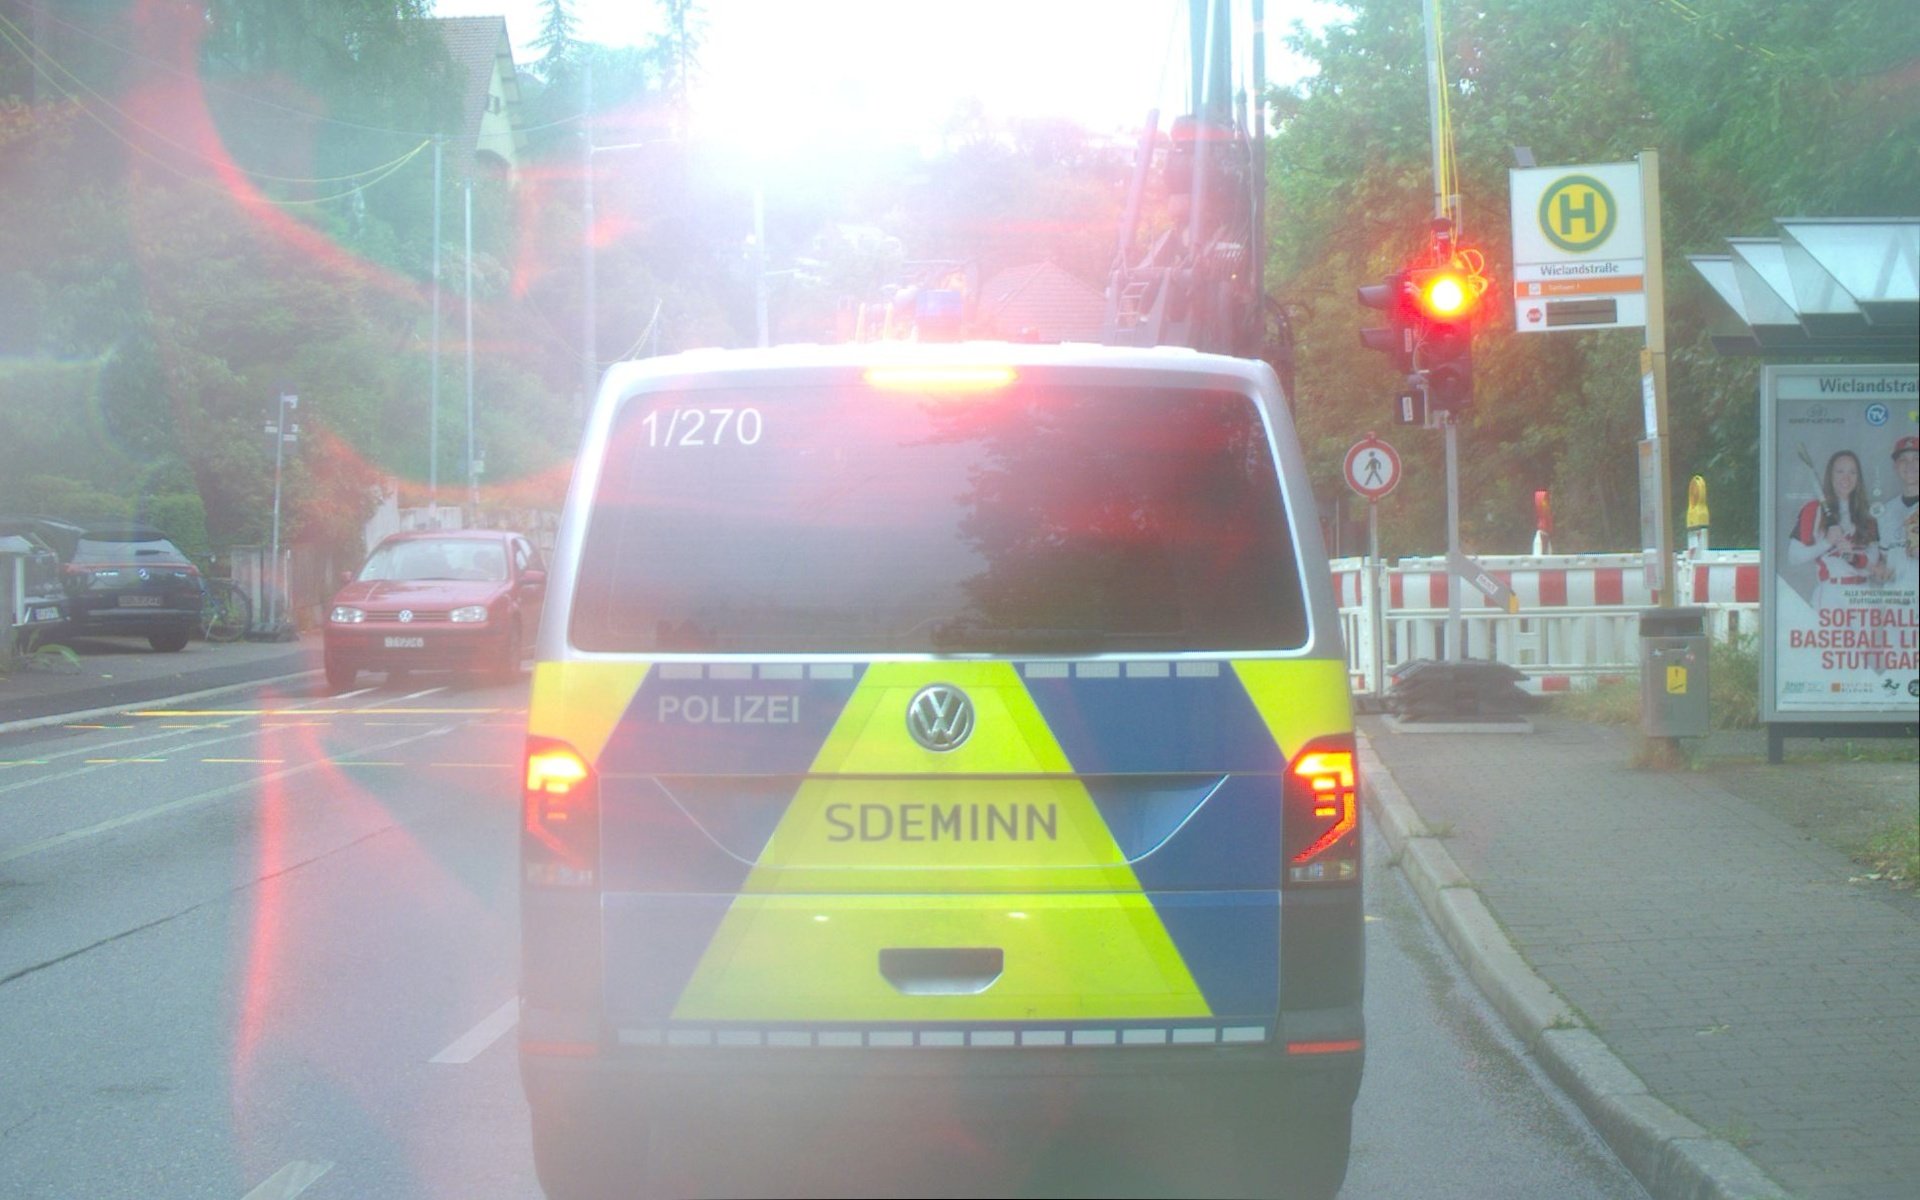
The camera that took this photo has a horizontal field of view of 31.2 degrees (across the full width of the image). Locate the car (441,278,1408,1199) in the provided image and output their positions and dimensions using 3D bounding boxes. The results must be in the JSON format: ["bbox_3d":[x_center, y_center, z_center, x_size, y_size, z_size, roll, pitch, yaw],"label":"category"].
[{"bbox_3d":[-0.096,0.355,8.825,1.893,2.043,4.000,1,1,-1],"label":"car"}]

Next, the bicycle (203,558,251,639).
[{"bbox_3d":[-8.442,-0.029,39.585,0.462,0.894,1.634,0,1,-15],"label":"bicycle"}]

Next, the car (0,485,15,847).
[{"bbox_3d":[-5.400,0.346,13.739,1.993,1.668,4.688,0,1,-1],"label":"car"}]

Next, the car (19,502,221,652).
[{"bbox_3d":[-9.324,-0.289,37.968,1.765,1.481,3.743,1,3,-20],"label":"car"}]

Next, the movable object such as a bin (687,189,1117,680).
[{"bbox_3d":[-0.421,-1.466,31.624,2.832,4.163,4.378,1,1,15],"label":"movable object such as a bin"}]

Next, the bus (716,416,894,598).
[{"bbox_3d":[-3.312,-2.041,76.615,2.841,3.705,12.005,1,1,3],"label":"bus"}]

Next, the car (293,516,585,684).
[{"bbox_3d":[-4.820,-0.047,32.317,1.764,1.458,3.885,1,1,6],"label":"car"}]

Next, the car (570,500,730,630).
[{"bbox_3d":[-4.378,-0.533,49.165,1.979,1.742,4.554,1,1,-2],"label":"car"}]
